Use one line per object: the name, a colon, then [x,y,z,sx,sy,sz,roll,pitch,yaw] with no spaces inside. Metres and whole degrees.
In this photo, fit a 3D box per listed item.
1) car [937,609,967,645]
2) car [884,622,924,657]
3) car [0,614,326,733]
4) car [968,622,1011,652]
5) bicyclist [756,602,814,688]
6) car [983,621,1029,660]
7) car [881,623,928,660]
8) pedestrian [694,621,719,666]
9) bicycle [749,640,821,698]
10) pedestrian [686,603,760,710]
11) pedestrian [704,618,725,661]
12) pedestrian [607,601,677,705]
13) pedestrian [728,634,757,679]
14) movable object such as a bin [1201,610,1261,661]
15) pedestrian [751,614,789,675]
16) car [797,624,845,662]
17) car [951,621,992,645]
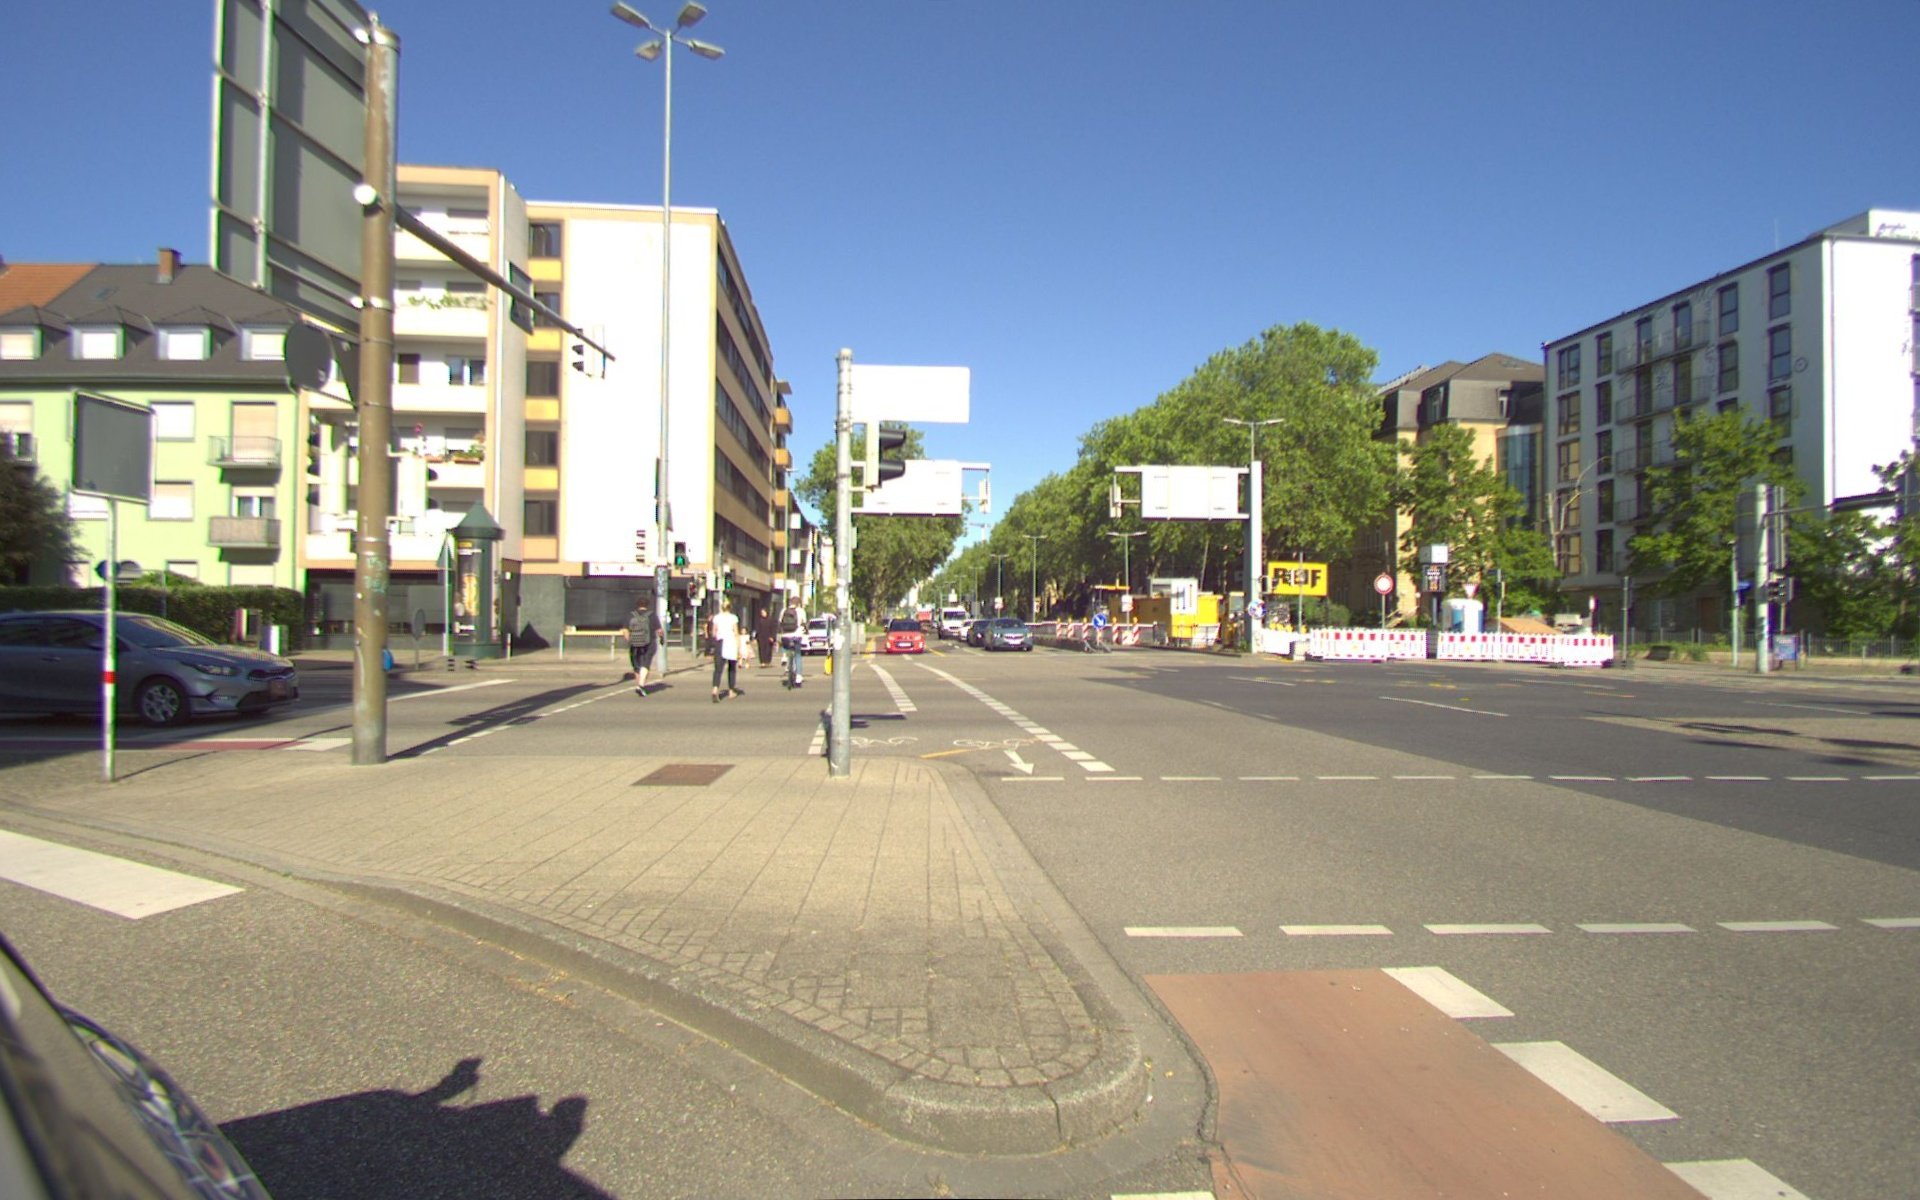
car: [-0.640,1.984,74.643,1.856,2.532,4.456,0,-1,-5]
car: [-2.884,2.020,52.724,1.858,1.530,4.001,-1,2,0]
car: [-10.904,0.914,13.293,4.000,1.418,1.884,-1,-1,0]
car: [1.532,1.935,54.175,1.856,1.530,4.004,0,-1,-4]
bicyclist: [-3.231,0.820,18.740,0.860,1.545,0.851,0,0,7]
car: [2.078,1.819,46.337,1.858,1.530,4.001,-1,2,0]
car: [-2.379,1.780,44.211,1.858,1.530,4.000,0,-1,0]
pedestrian: [-9.812,1.668,39.144,0.707,1.691,0.699,-1,2,-33]
bicycle: [-3.226,1.254,18.861,0.856,0.998,1.899,0,-2,6]
pedestrian: [-3.779,0.868,16.115,0.774,1.619,0.931,-2,2,-41]
pedestrian: [-9.776,1.565,40.311,0.709,1.691,0.698,-1,1,-5]
pedestrian: [-5.370,0.863,17.083,0.785,1.655,0.986,-2,2,-41]
pedestrian: [-6.068,1.561,28.244,0.639,1.211,0.526,0,1,4]
movable object such as a bin: [14.590,1.877,54.700,1.970,2.494,4.004,-1,2,-4]
pedestrian: [-5.266,1.218,28.118,0.886,1.634,0.720,0,1,4]
car: [-6.037,1.887,44.216,1.856,1.531,4.554,-1,-3,-5]
car: [0.679,2.090,64.990,1.854,1.530,4.009,0,-1,-11]
